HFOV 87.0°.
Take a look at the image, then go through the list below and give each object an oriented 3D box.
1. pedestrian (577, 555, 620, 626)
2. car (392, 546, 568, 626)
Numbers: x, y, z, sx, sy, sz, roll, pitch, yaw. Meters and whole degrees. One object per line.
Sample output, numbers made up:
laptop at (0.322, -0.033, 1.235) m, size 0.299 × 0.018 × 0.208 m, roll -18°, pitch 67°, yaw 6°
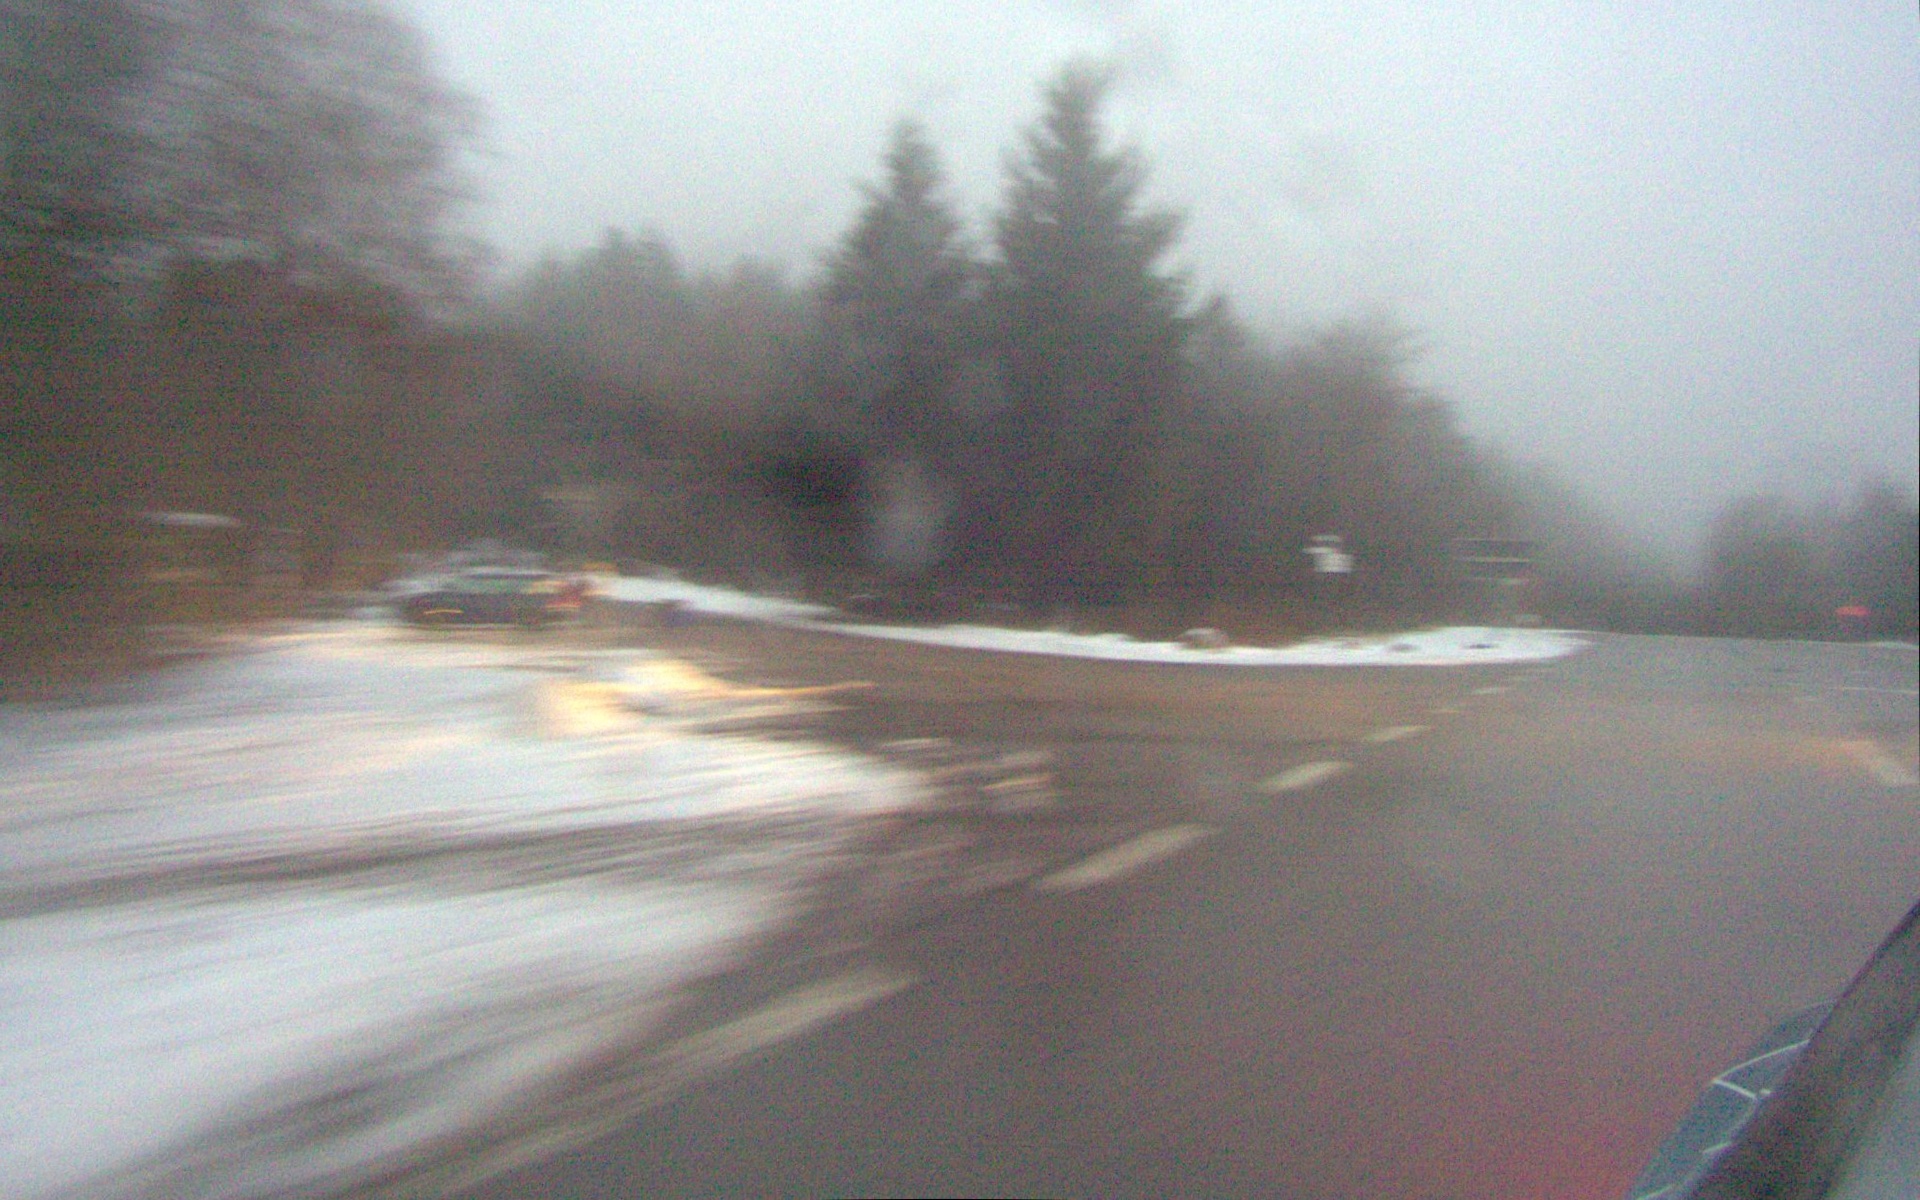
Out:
pedestrian at (-9.713, -0.235, 27.168) m, size 0.944 × 1.851 × 0.926 m, roll 1°, pitch -1°, yaw -27°
car at (-12.356, -0.318, 26.086) m, size 3.882 × 1.905 × 2.001 m, roll 1°, pitch -1°, yaw -32°
